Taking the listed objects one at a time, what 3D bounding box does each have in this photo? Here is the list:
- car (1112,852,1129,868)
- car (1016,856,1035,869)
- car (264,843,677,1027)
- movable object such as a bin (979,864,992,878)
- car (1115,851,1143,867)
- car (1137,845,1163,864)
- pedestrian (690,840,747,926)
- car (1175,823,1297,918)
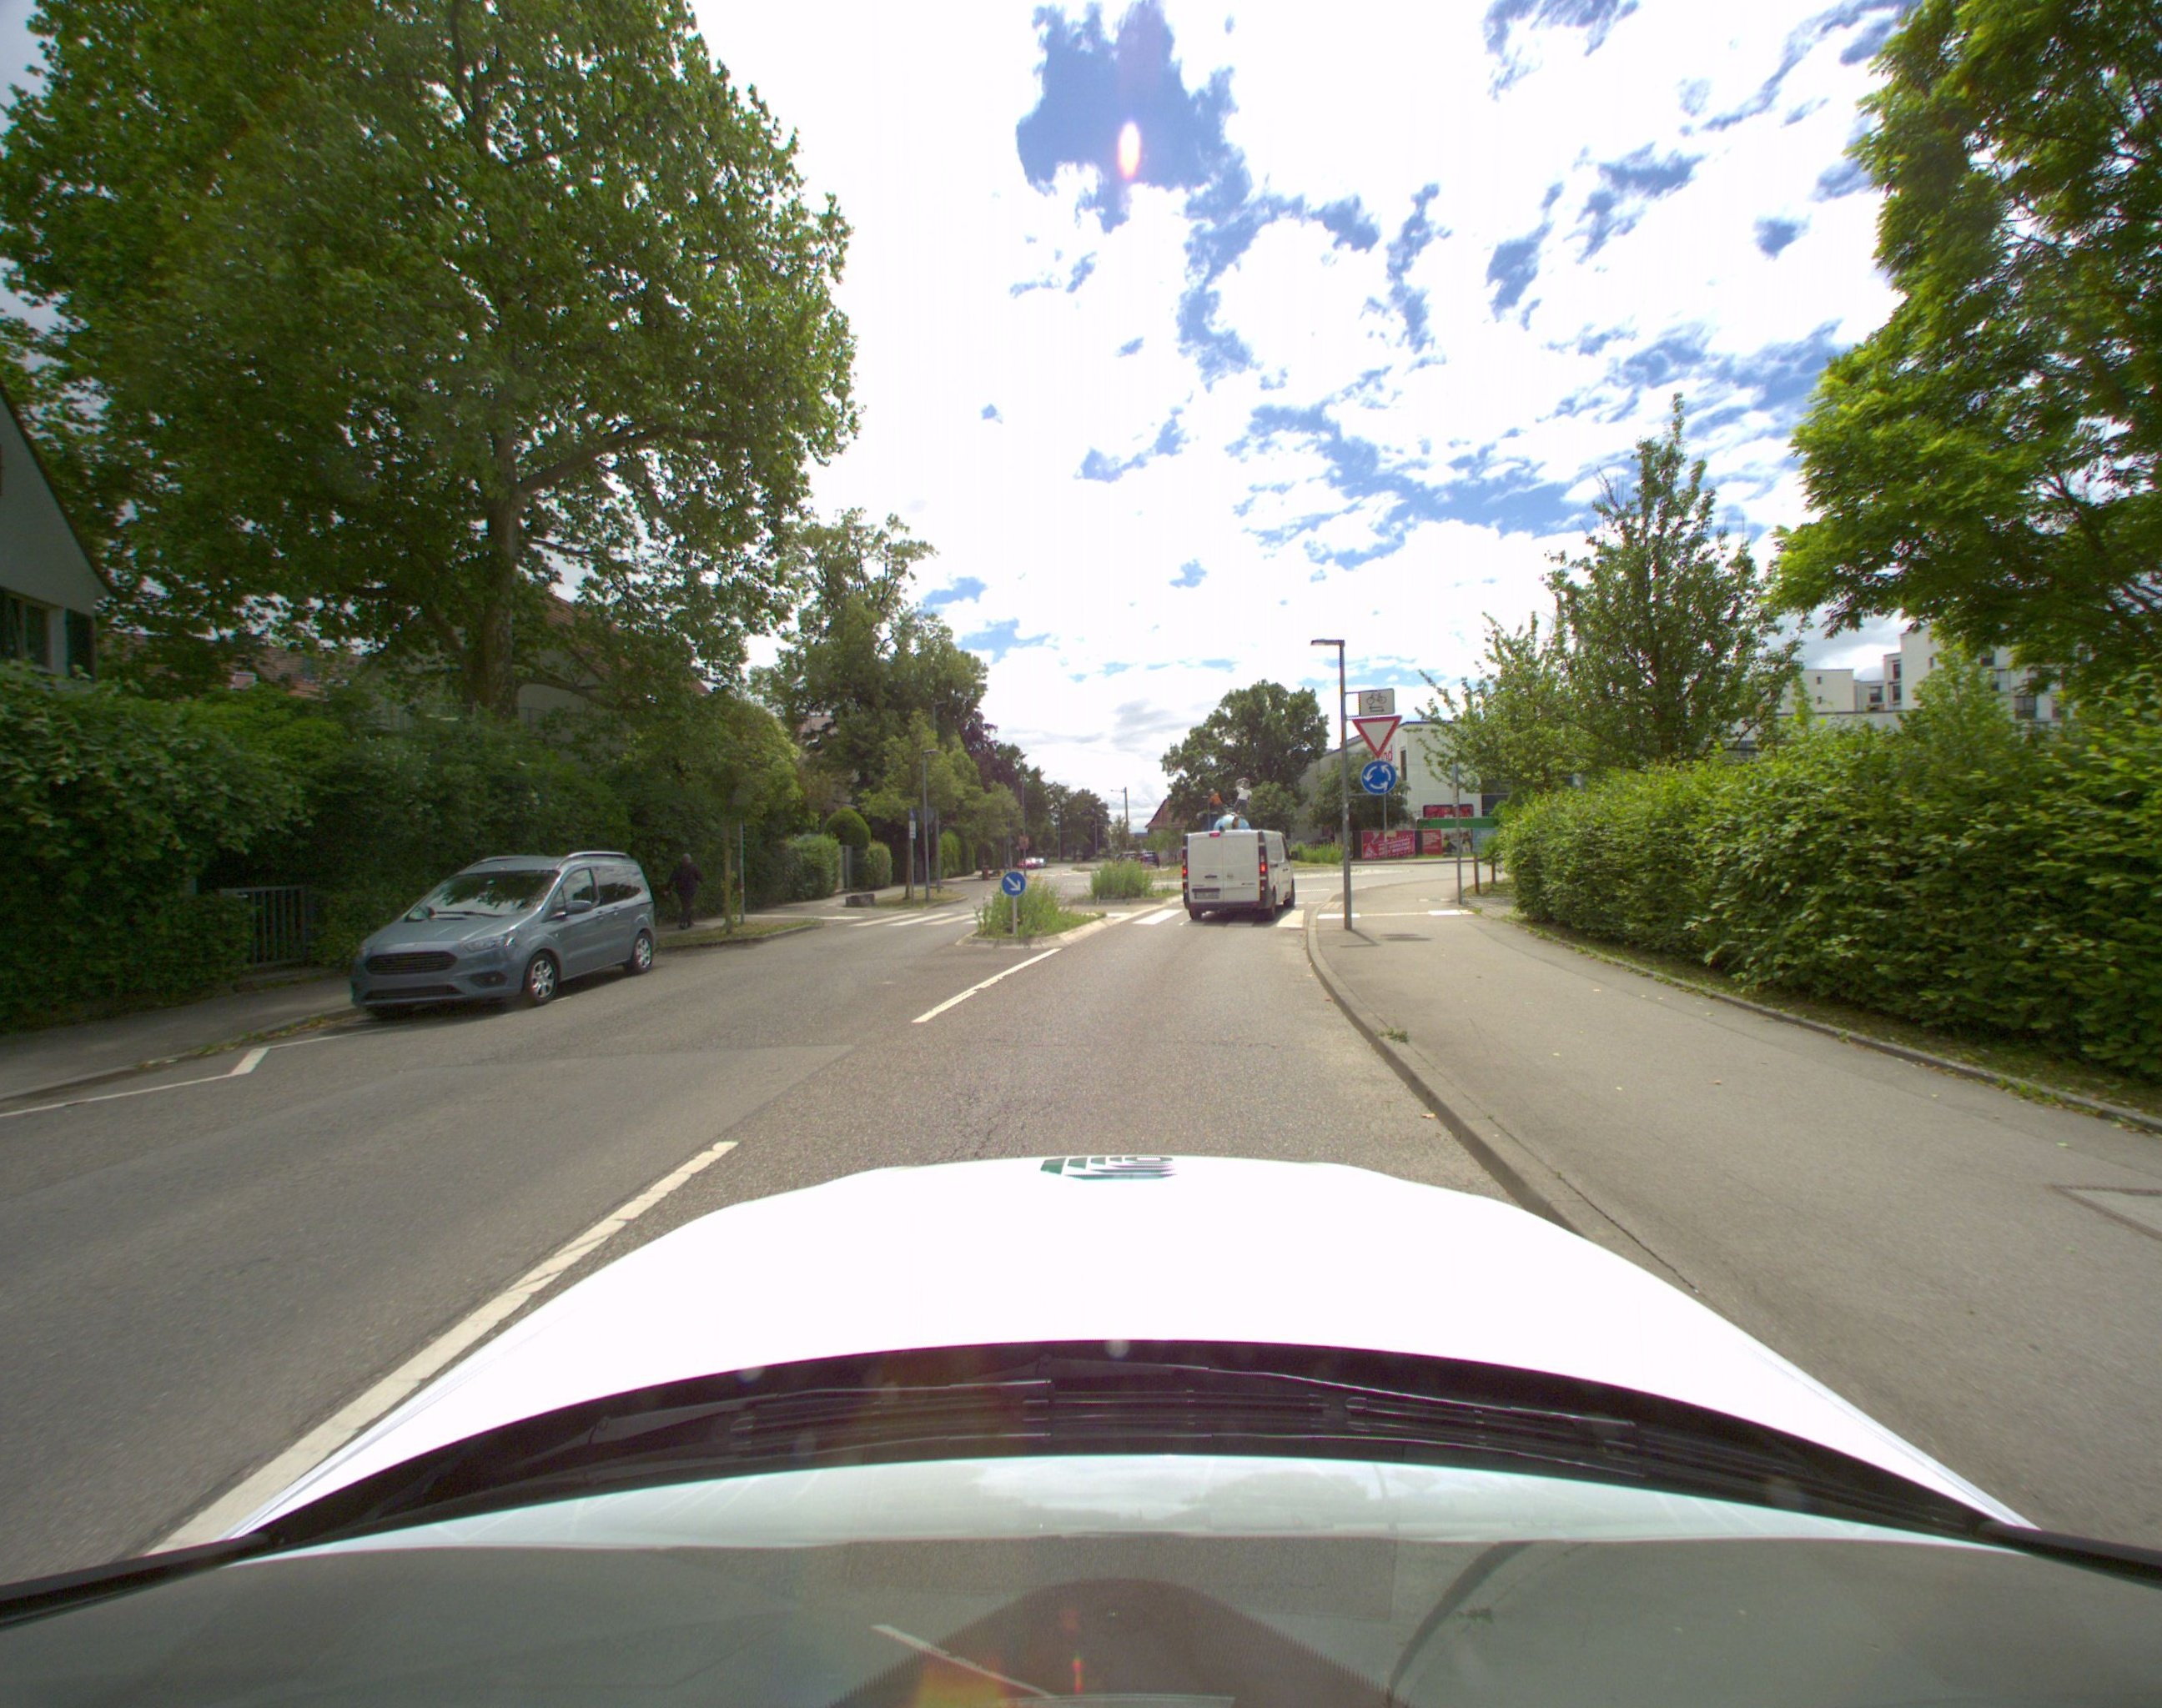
[{"bbox_3d":[4.810,0.699,99.590,1.890,1.744,3.927,-1,1,2],"label":"car"},{"bbox_3d":[-6.810,1.040,99.802,2.062,1.386,4.036,-2,1,-9],"label":"car"},{"bbox_3d":[-7.049,0.750,10.197,2.129,1.772,4.455,0,1,-6],"label":"car"},{"bbox_3d":[-6.140,1.116,52.379,0.626,0.863,0.642,-3,0,11],"label":"movable object such as a bin"},{"bbox_3d":[4.759,0.487,81.245,1.920,1.500,3.912,-2,1,-10],"label":"car"},{"bbox_3d":[6.166,0.009,73.445,1.927,1.537,3.923,-1,1,-1],"label":"car"},{"bbox_3d":[-8.925,0.698,20.082,0.870,2.013,1.039,-3,0,-4],"label":"pedestrian"},{"bbox_3d":[3.826,0.299,19.294,2.017,1.945,5.019,0,1,21],"label":"car"}]
